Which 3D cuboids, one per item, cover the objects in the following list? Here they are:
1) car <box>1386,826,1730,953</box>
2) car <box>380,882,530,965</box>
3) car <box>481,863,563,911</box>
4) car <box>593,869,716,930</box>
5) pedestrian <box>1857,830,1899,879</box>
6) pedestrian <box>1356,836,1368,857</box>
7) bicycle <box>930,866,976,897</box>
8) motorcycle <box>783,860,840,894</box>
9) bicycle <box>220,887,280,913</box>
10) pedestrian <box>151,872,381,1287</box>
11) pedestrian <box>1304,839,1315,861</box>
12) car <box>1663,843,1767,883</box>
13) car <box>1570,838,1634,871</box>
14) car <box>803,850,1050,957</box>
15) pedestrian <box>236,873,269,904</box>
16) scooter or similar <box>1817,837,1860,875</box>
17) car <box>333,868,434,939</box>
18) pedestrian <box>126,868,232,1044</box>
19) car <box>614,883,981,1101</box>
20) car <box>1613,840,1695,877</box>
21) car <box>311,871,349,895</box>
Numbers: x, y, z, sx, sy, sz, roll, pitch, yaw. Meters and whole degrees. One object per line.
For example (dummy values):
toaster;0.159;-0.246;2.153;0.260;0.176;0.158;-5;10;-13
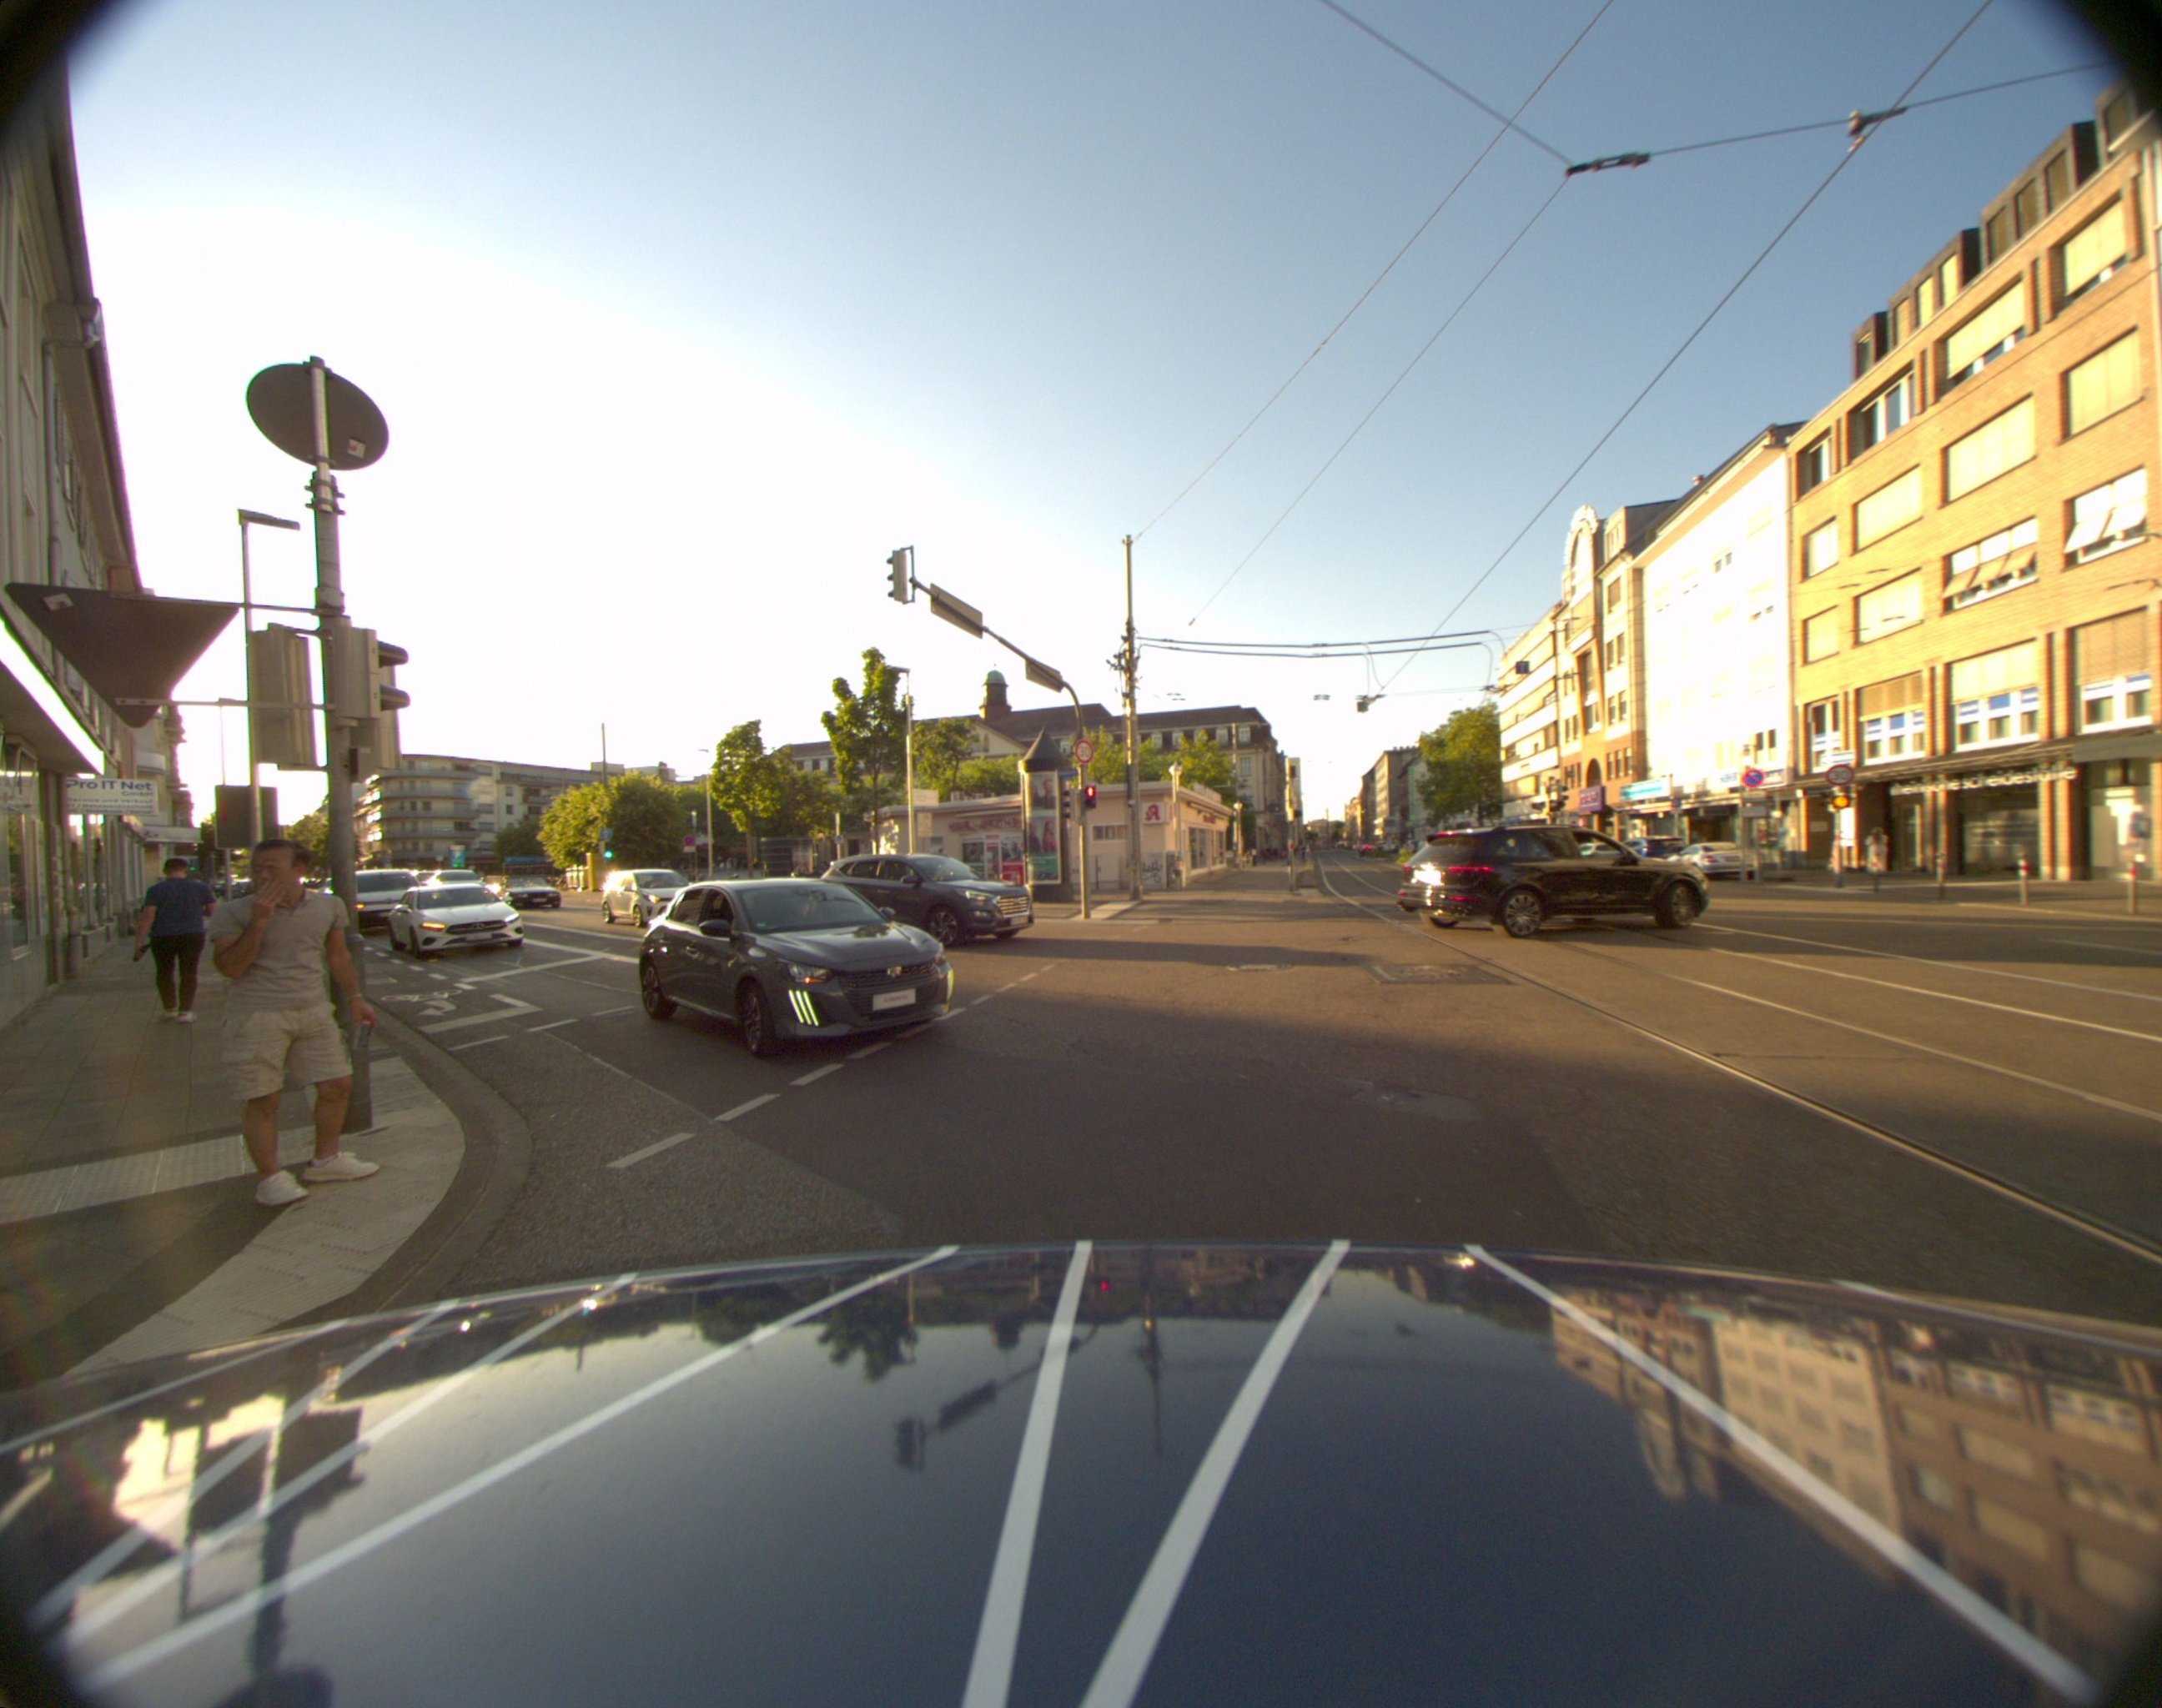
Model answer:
car;7.522;0.510;12.172;4.569;1.687;1.805;-2;0;-9
car;-13.893;1.430;16.791;3.974;1.463;1.832;-1;3;41
car;-22.235;1.267;30.158;3.974;1.730;1.833;-1;-1;42
car;-11.844;1.188;20.999;3.974;1.463;1.723;-1;1;42
pedestrian;24.956;0.019;23.802;0.543;1.463;0.625;-5;0;2
pedestrian;27.802;-0.761;75.101;0.715;2.003;0.839;-5;4;-18
bicycle;-4.961;1.045;29.555;0.447;1.107;1.876;0;1;42
motorcycle;-12.354;1.042;34.912;0.699;1.437;2.405;-1;1;41
bicycle;-37.476;2.071;34.284;1.708;1.051;0.561;-2;1;-38
pedestrian;-3.928;0.966;3.671;0.692;1.732;0.655;-1;1;39
pedestrian;21.587;-0.367;71.856;0.714;2.003;0.841;-3;4;2
car;22.587;0.306;27.201;1.634;1.246;3.393;-4;-1;18
car;25.796;0.004;37.748;1.634;1.455;3.393;-4;-1;18
car;-2.894;0.839;14.019;4.248;1.688;1.832;-1;1;30
pedestrian;-37.426;1.570;34.324;0.861;1.343;0.561;-2;1;-38
scooter or similar;26.156;0.049;26.253;0.395;1.251;1.468;-3;0;19
car;-20.970;1.402;22.786;3.974;1.917;1.832;-1;-1;42
pedestrian;-9.986;1.070;8.412;0.878;1.817;0.694;-1;1;38
car;-2.931;1.065;7.418;3.895;1.434;1.755;-2;1;44
car;23.754;0.191;31.642;1.634;1.345;3.393;-4;-1;18
car;-60.734;2.300;61.405;3.989;1.761;1.885;-1;1;42
